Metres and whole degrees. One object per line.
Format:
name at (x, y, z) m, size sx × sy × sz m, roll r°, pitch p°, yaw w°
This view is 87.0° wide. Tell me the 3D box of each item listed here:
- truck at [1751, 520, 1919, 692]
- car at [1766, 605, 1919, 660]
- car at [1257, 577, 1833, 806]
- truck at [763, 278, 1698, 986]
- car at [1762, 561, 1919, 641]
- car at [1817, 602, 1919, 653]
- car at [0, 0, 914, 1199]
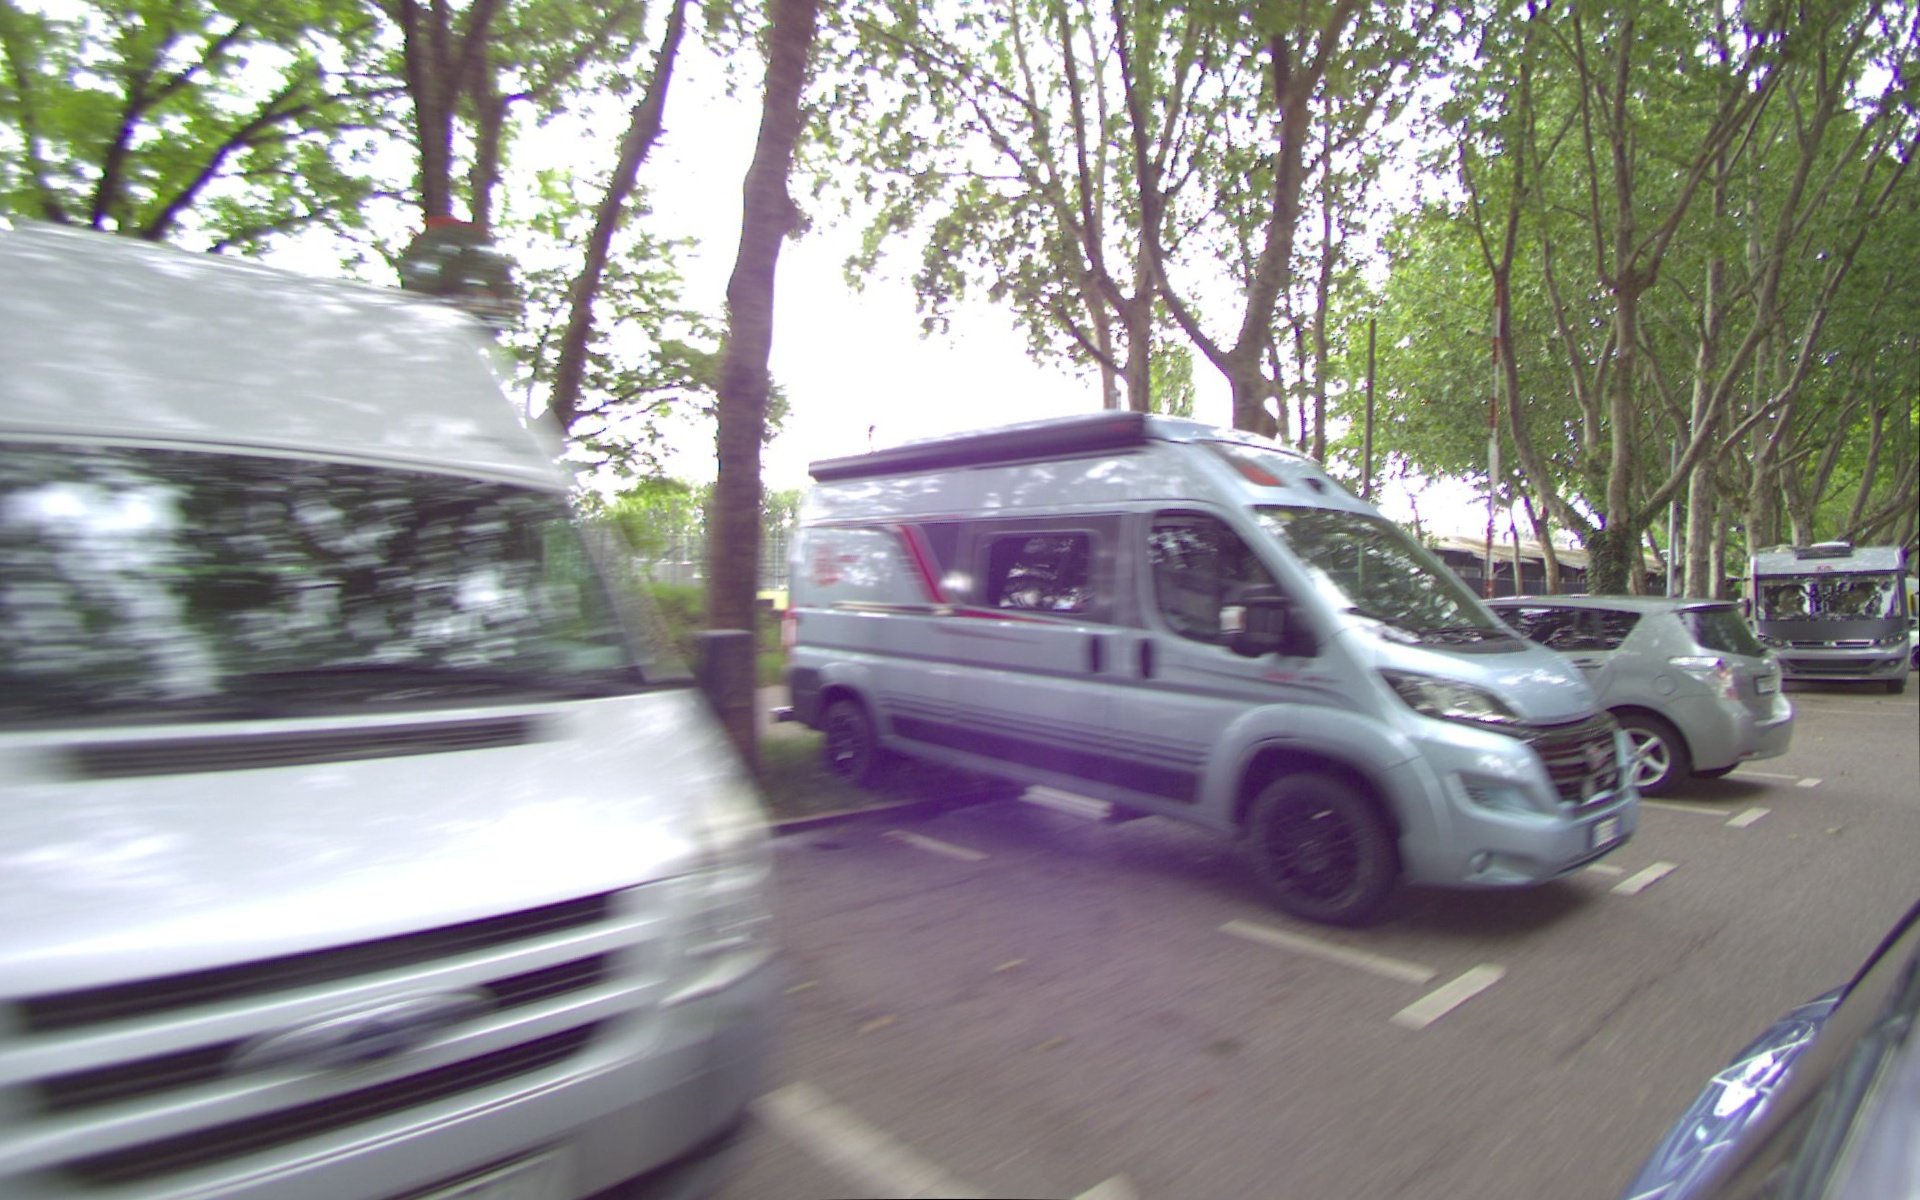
truck at (18.201, 0.105, 21.069) m, size 2.455 × 2.975 × 7.428 m, roll 0°, pitch 0°, yaw 40°
car at (23.663, 0.806, 26.052) m, size 1.670 × 1.318 × 4.328 m, roll 0°, pitch 0°, yaw -40°
car at (5.181, 0.695, 9.553) m, size 1.770 × 1.639 × 4.350 m, roll 0°, pitch -1°, yaw -38°
truck at (1.047, 0.118, 7.045) m, size 2.060 × 2.749 × 6.307 m, roll 0°, pitch 0°, yaw -39°
car at (32.723, 0.035, 35.639) m, size 6.879 × 2.729 × 2.094 m, roll 0°, pitch 0°, yaw 44°
car at (27.877, 0.792, 29.540) m, size 4.354 × 1.464 × 1.588 m, roll 0°, pitch 0°, yaw 41°
car at (-2.497, 0.112, 3.450) m, size 1.922 × 2.724 × 5.238 m, roll 0°, pitch -1°, yaw -40°
